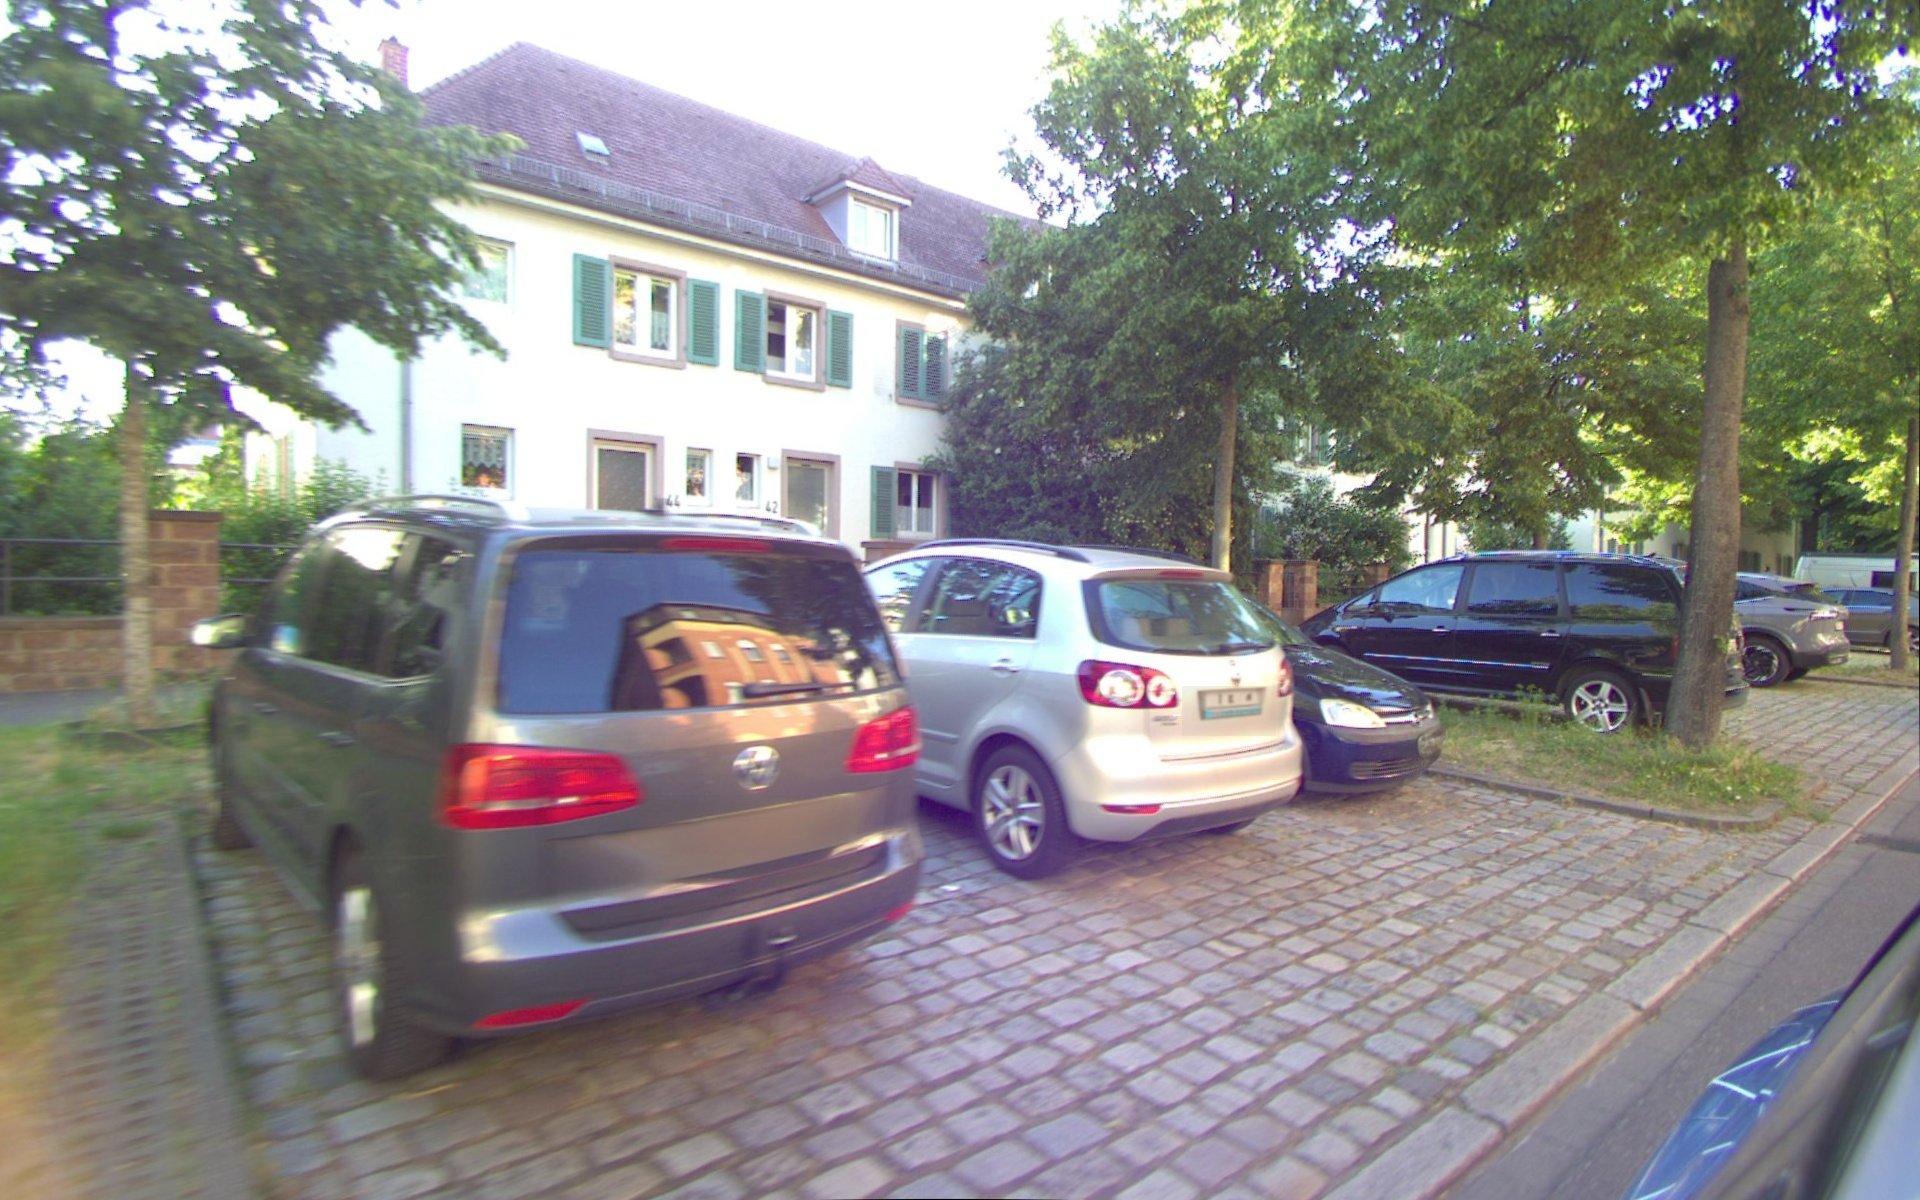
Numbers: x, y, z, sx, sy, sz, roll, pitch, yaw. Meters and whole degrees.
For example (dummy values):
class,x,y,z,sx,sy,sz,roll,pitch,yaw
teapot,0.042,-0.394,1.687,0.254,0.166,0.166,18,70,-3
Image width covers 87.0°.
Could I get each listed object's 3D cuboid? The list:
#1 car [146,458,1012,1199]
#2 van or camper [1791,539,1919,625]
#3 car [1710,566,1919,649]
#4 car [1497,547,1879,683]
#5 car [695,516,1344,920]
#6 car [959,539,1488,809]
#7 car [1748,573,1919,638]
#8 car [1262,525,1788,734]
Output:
class,x,y,z,sx,sy,sz,roll,pitch,yaw
car,-2.085,0.332,4.420,4.542,1.653,1.784,6,5,44
van or camper,30.223,-0.526,31.970,2.124,2.546,5.734,0,5,-40
car,20.357,0.149,23.116,1.862,1.557,4.847,0,5,-42
car,11.184,0.103,15.850,1.843,1.653,4.486,0,5,-41
car,-0.006,0.361,6.459,1.659,1.653,4.286,0,5,-38
car,1.805,0.348,7.894,1.561,1.471,3.731,0,5,-40
car,24.402,0.138,27.408,1.796,1.453,4.488,0,5,-40
car,5.860,0.119,11.086,1.872,1.697,4.596,0,5,-38
